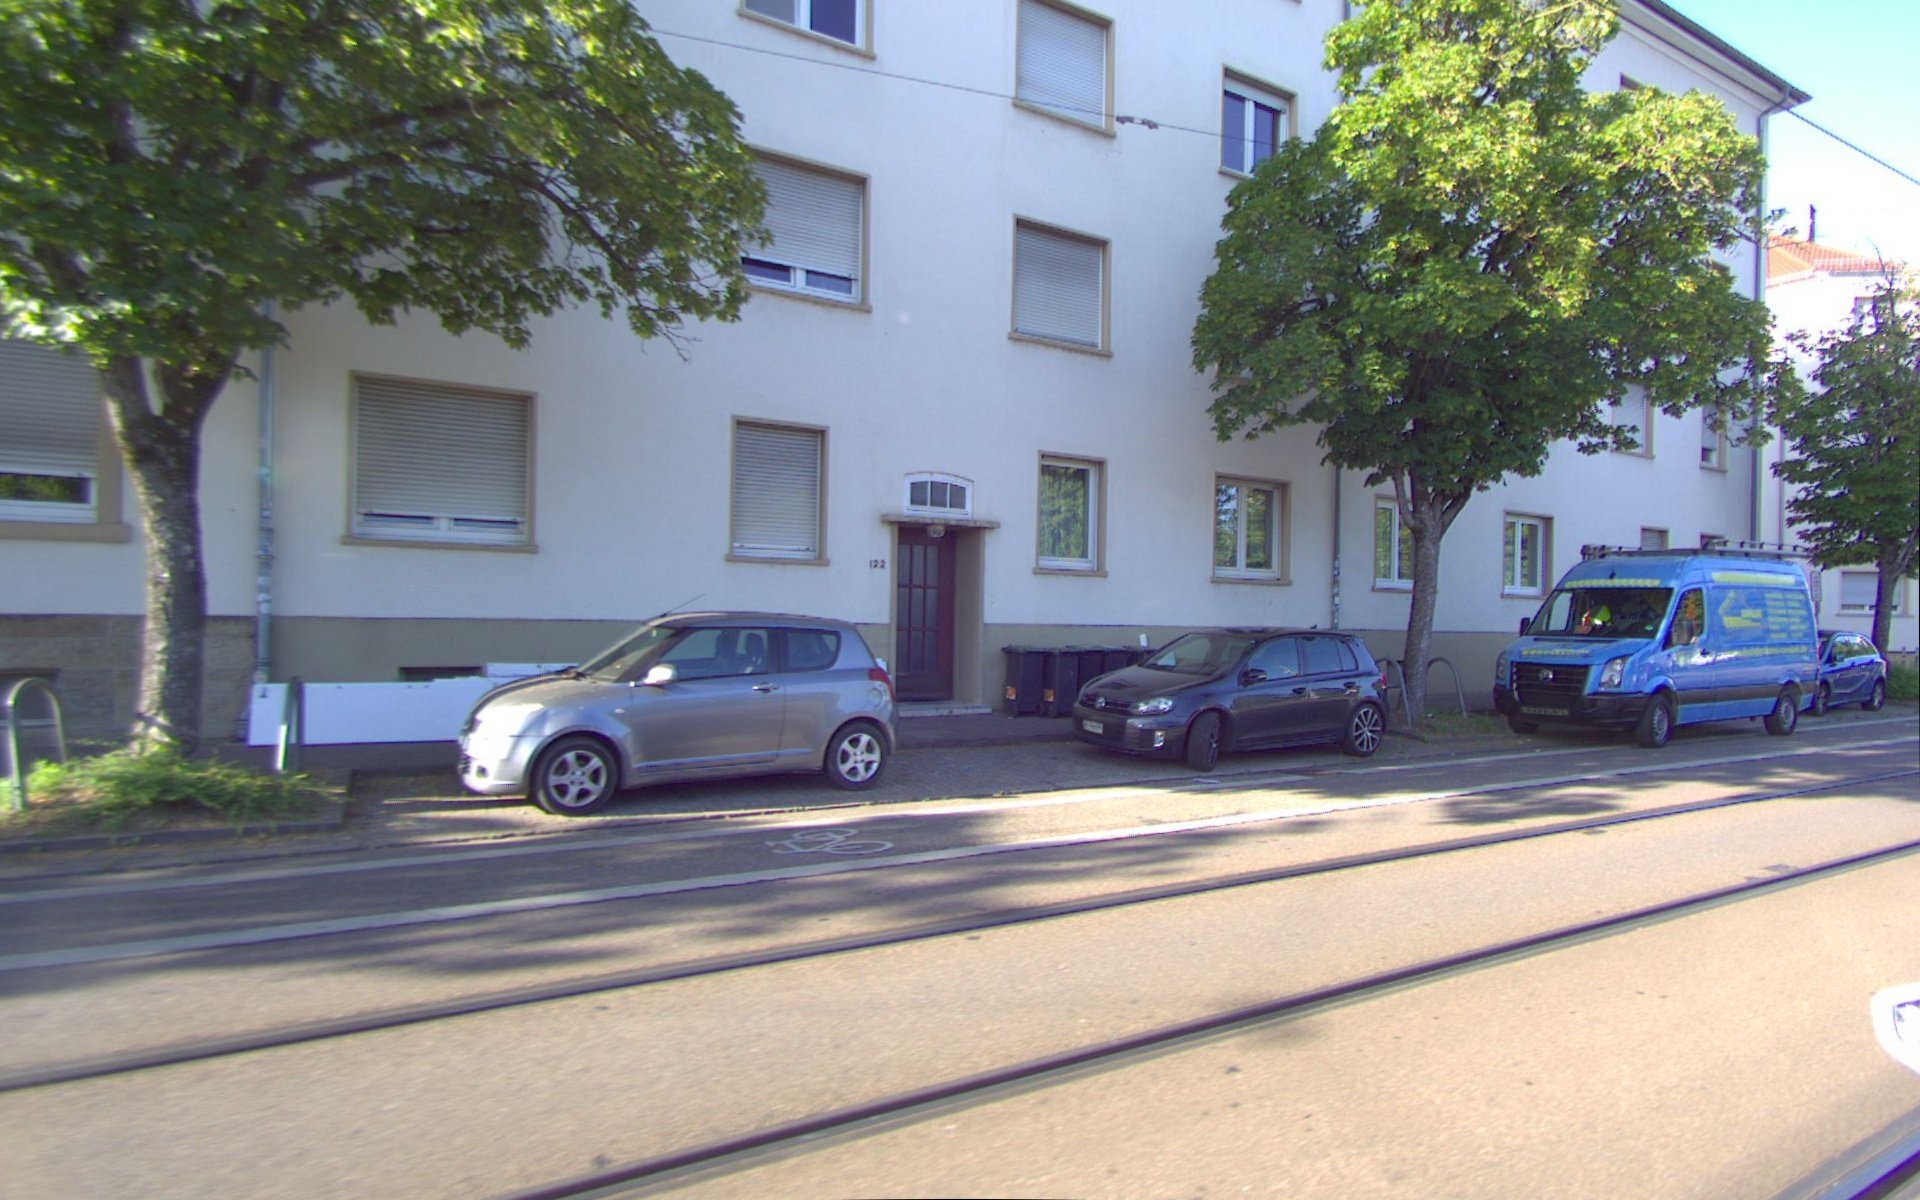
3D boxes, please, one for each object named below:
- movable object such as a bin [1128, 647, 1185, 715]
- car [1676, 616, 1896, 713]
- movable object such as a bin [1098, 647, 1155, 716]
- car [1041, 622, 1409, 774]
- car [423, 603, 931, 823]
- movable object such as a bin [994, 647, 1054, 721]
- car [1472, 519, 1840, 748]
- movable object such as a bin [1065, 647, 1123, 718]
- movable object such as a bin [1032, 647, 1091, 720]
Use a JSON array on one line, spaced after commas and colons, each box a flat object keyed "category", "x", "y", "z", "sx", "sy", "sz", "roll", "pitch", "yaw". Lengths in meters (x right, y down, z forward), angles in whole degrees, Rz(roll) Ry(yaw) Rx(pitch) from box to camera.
[{"category": "movable object such as a bin", "x": 2.880, "y": 1.175, "z": 14.750, "sx": 0.562, "sy": 0.947, "sz": 0.593, "roll": 1, "pitch": -1, "yaw": -32}, {"category": "car", "x": 16.123, "y": 1.214, "z": 19.553, "sx": 4.588, "sy": 1.582, "sz": 1.782, "roll": 2, "pitch": 2, "yaw": -31}, {"category": "movable object such as a bin", "x": 2.385, "y": 1.159, "z": 14.418, "sx": 0.562, "sy": 0.947, "sz": 0.593, "roll": 1, "pitch": -1, "yaw": -32}, {"category": "car", "x": 3.126, "y": 1.040, "z": 11.624, "sx": 4.140, "sy": 1.444, "sz": 1.644, "roll": 2, "pitch": 0, "yaw": -30}, {"category": "car", "x": -2.386, "y": 0.844, "z": 8.715, "sx": 3.952, "sy": 1.511, "sz": 1.644, "roll": 2, "pitch": 0, "yaw": -30}, {"category": "movable object such as a bin", "x": 0.861, "y": 1.109, "z": 13.507, "sx": 0.562, "sy": 0.947, "sz": 0.593, "roll": 1, "pitch": -1, "yaw": -32}, {"category": "car", "x": 10.418, "y": 0.495, "z": 14.882, "sx": 5.958, "sy": 2.863, "sz": 2.008, "roll": 2, "pitch": 0, "yaw": -29}, {"category": "movable object such as a bin", "x": 1.875, "y": 1.142, "z": 14.097, "sx": 0.562, "sy": 0.947, "sz": 0.593, "roll": 1, "pitch": -1, "yaw": -32}, {"category": "movable object such as a bin", "x": 1.391, "y": 1.126, "z": 13.764, "sx": 0.562, "sy": 0.947, "sz": 0.593, "roll": 1, "pitch": -1, "yaw": -32}]
